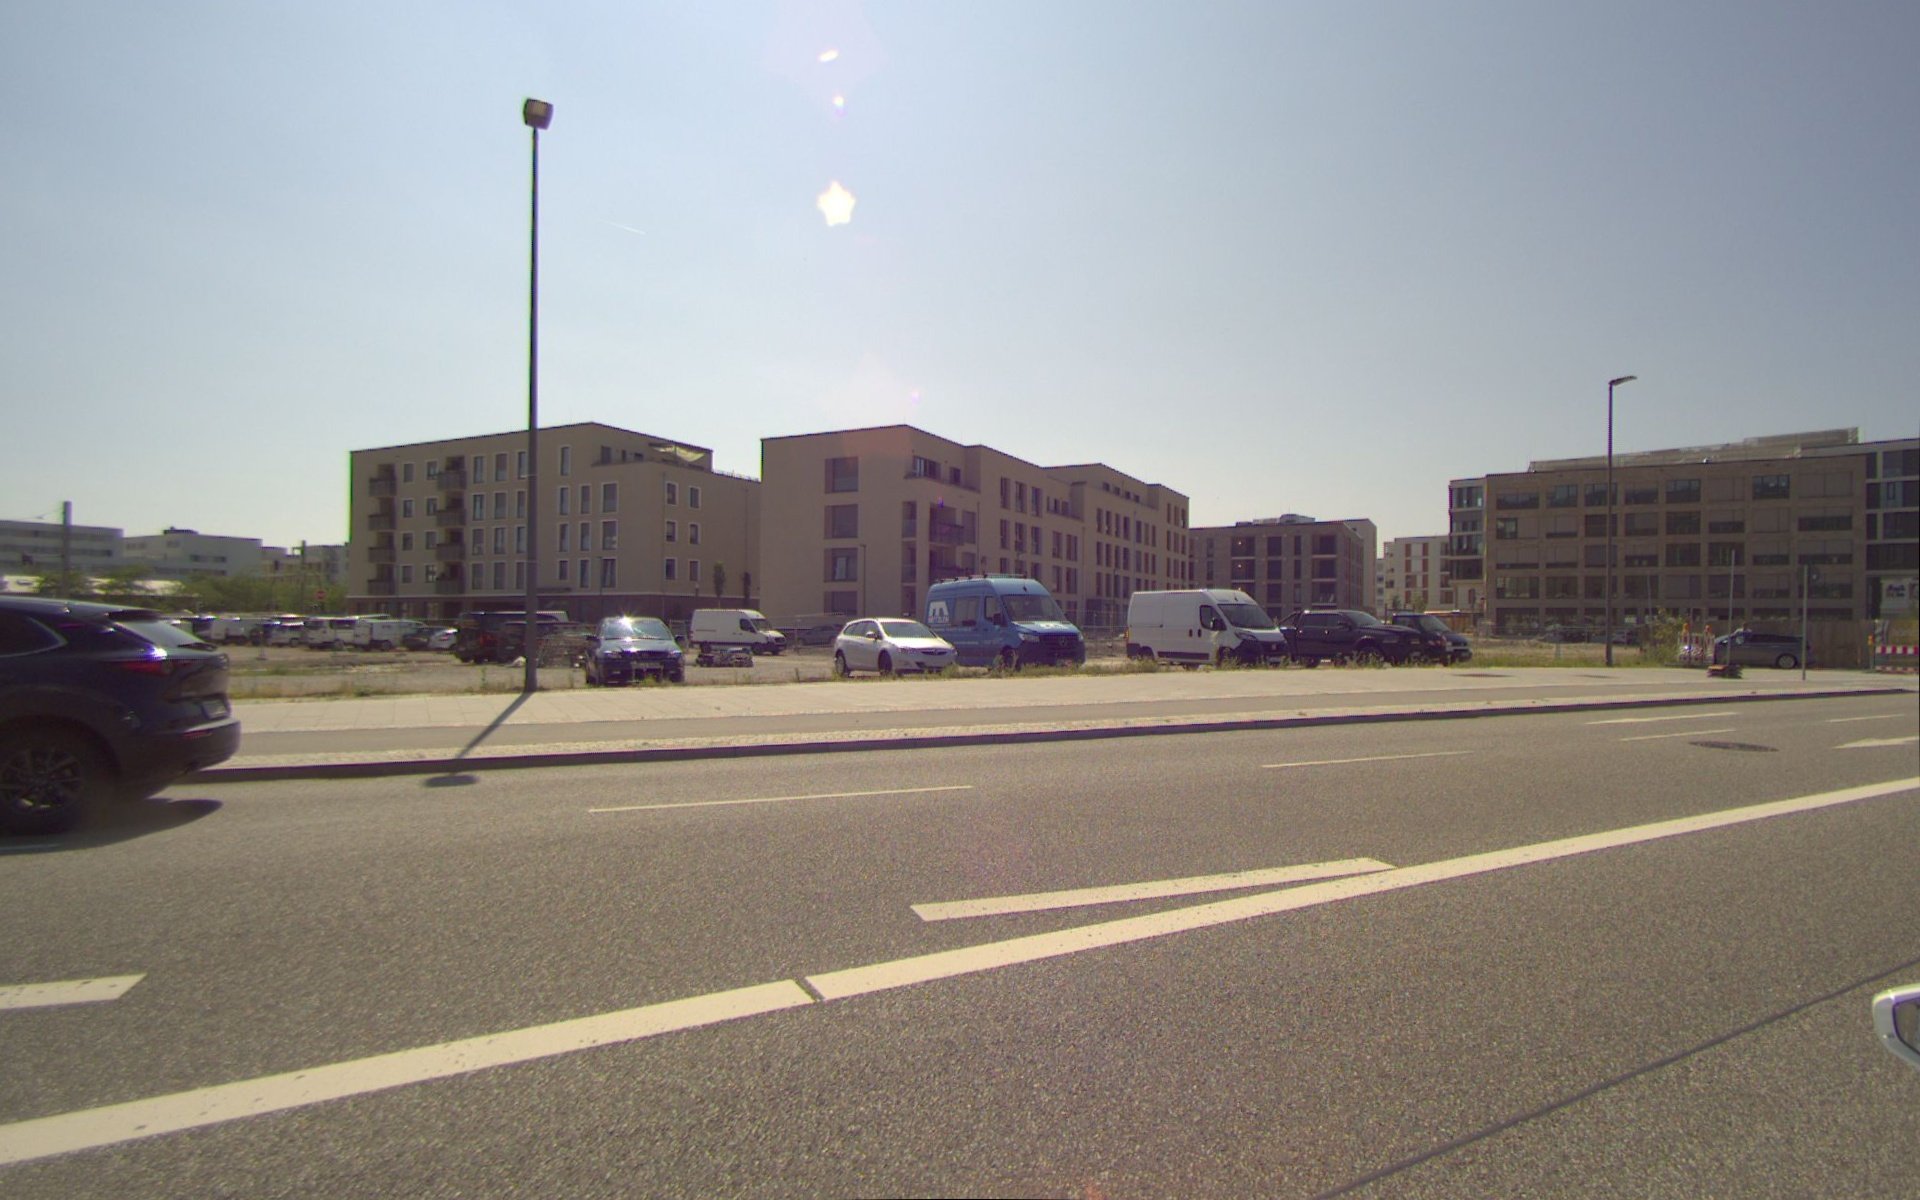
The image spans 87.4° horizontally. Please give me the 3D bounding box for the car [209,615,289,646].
[{"bbox_3d":[-48.583,2.074,68.706,1.965,2.040,3.992,0,-2,31],"label":"car"}]

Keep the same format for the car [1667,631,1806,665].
[{"bbox_3d":[31.760,1.939,41.229,4.168,1.335,1.998,0,-2,26],"label":"car"}]

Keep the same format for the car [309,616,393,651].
[{"bbox_3d":[-37.969,2.060,62.693,1.965,2.040,3.991,1,0,31],"label":"car"}]

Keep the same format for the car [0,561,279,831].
[{"bbox_3d":[-7.225,0.589,6.547,4.328,1.649,1.897,1,-2,-26],"label":"car"}]

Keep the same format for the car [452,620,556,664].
[{"bbox_3d":[-21.013,1.898,46.434,1.965,1.873,3.991,1,0,31],"label":"car"}]

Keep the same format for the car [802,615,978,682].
[{"bbox_3d":[-1.927,1.160,25.372,2.083,1.493,5.621,1,-2,-31],"label":"car"}]

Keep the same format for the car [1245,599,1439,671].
[{"bbox_3d":[12.561,1.130,33.483,2.369,2.194,5.850,1,-2,-32],"label":"car"}]

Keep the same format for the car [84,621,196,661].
[{"bbox_3d":[-41.493,2.058,50.893,1.966,1.906,3.989,-1,-2,33],"label":"car"}]

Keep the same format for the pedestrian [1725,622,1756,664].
[{"bbox_3d":[33.084,1.808,42.558,0.744,1.706,0.685,2,0,-17],"label":"pedestrian"}]

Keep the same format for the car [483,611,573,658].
[{"bbox_3d":[-22.399,1.748,52.180,1.962,2.270,3.997,1,0,25],"label":"car"}]

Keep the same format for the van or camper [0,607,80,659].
[{"bbox_3d":[-43.364,1.475,45.461,1.963,2.314,4.930,0,-2,28],"label":"van or camper"}]

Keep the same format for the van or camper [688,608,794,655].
[{"bbox_3d":[-12.687,1.801,58.178,5.812,2.592,1.936,0,-1,20],"label":"van or camper"}]

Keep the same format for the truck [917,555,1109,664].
[{"bbox_3d":[1.225,0.308,26.882,2.248,2.577,5.976,1,-2,-30],"label":"truck"}]

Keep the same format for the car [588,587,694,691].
[{"bbox_3d":[-6.684,0.789,20.798,1.801,1.929,3.980,1,-2,-22],"label":"car"}]

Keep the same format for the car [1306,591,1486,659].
[{"bbox_3d":[15.100,0.882,35.101,2.369,2.202,5.412,1,-2,-33],"label":"car"}]

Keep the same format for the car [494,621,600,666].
[{"bbox_3d":[-18.455,1.898,45.016,1.965,1.873,3.991,1,0,31],"label":"car"}]

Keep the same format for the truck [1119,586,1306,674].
[{"bbox_3d":[7.446,0.884,30.237,2.249,2.394,5.539,1,-2,-31],"label":"truck"}]

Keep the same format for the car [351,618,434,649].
[{"bbox_3d":[-34.988,2.042,62.029,1.965,1.810,3.992,-1,-2,31],"label":"car"}]

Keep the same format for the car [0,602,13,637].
[{"bbox_3d":[-57.427,1.134,57.649,1.963,2.040,3.996,0,-1,26],"label":"car"}]
